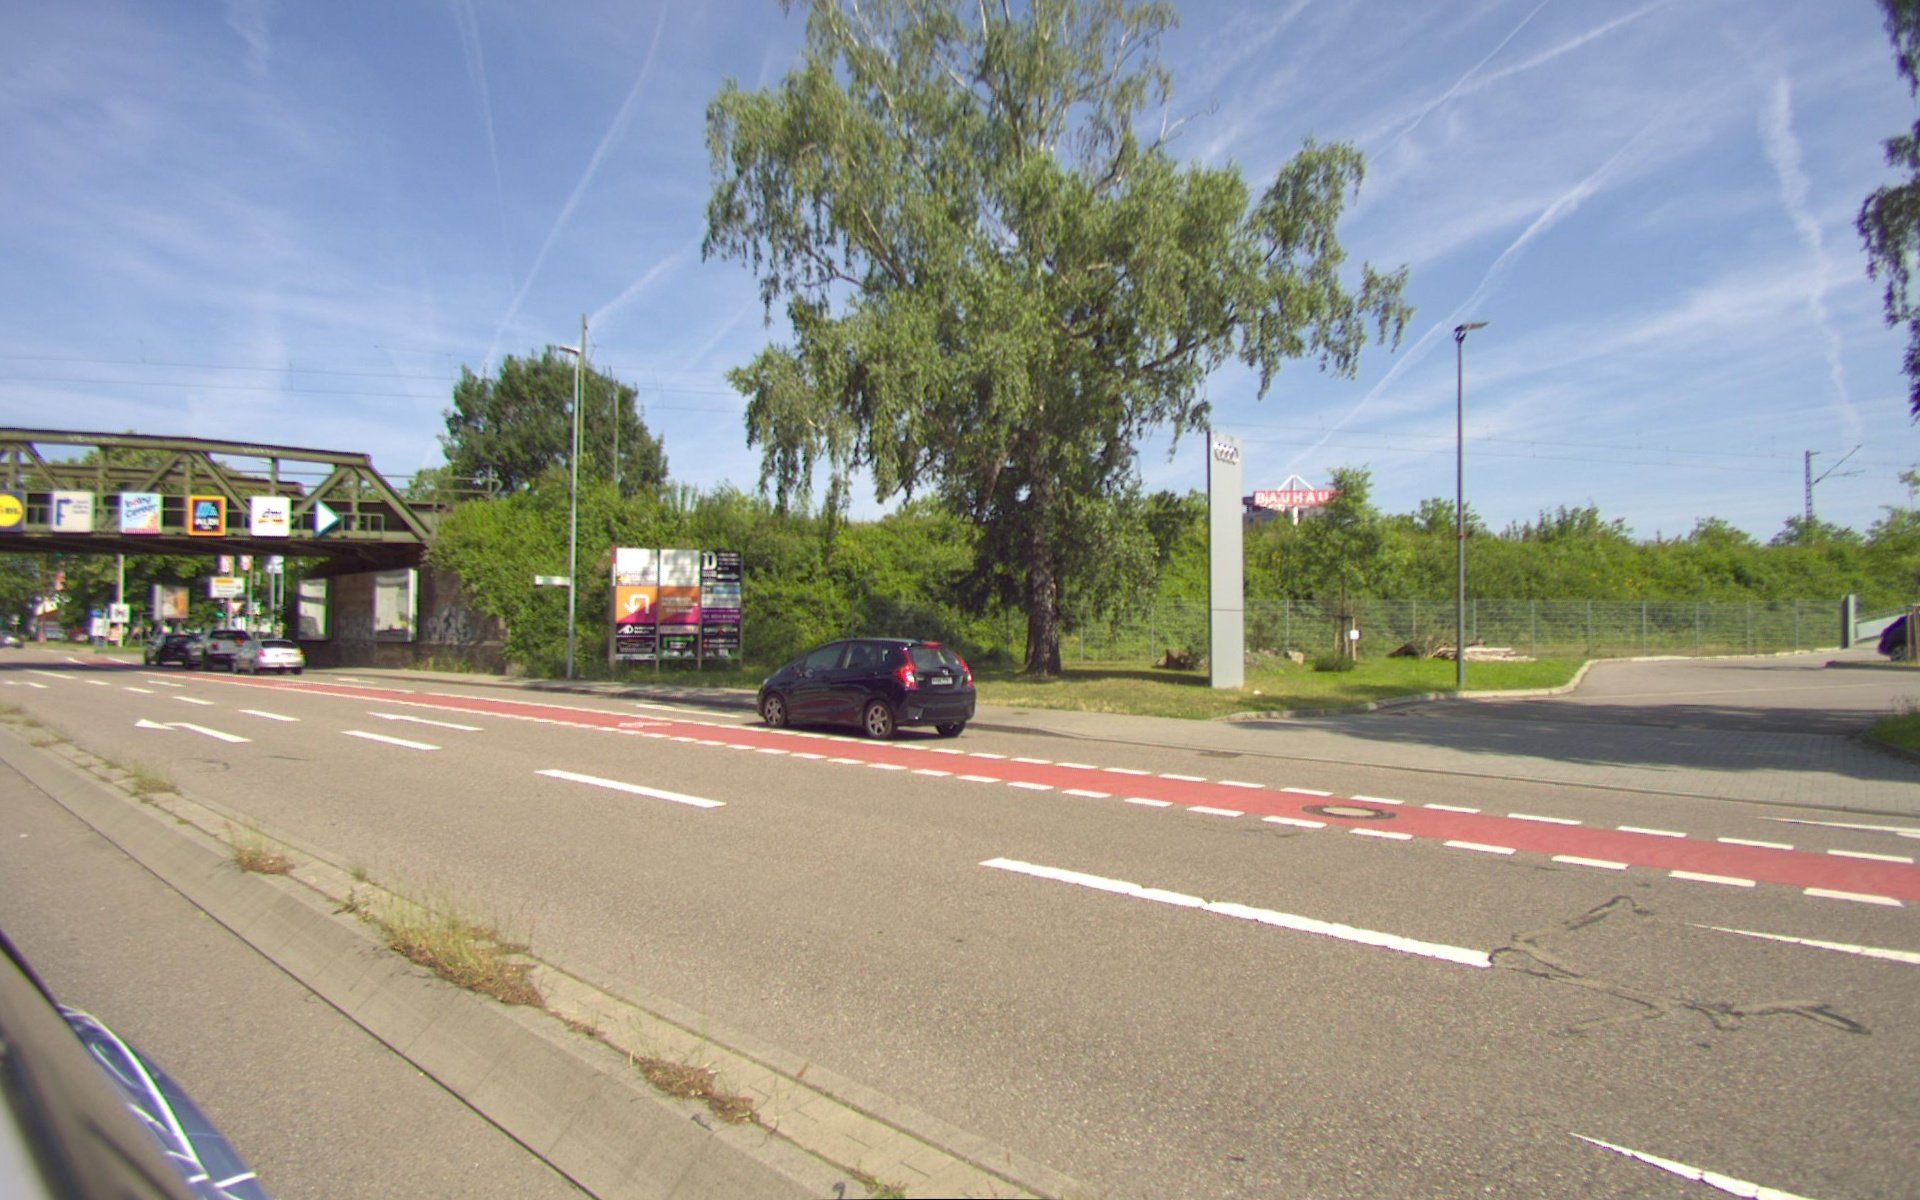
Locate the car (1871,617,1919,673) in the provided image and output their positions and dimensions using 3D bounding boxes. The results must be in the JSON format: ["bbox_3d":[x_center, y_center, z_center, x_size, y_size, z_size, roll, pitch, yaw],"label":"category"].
[{"bbox_3d":[29.907,1.333,29.385,1.966,1.630,4.775,-1,-1,-17],"label":"car"}]

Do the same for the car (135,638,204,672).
[{"bbox_3d":[-39.167,2.703,50.113,4.384,1.608,1.853,-2,-3,41],"label":"car"}]

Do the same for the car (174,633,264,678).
[{"bbox_3d":[-32.887,2.424,44.844,5.447,1.875,1.973,-2,-5,41],"label":"car"}]

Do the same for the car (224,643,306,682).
[{"bbox_3d":[-27.366,2.430,39.824,4.316,1.398,1.618,-2,-4,41],"label":"car"}]

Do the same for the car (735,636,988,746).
[{"bbox_3d":[-1.648,1.358,16.090,4.025,1.530,1.680,-2,-4,41],"label":"car"}]

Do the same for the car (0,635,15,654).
[{"bbox_3d":[-92.912,4.289,97.836,3.632,1.735,1.801,-2,-1,39],"label":"car"}]
